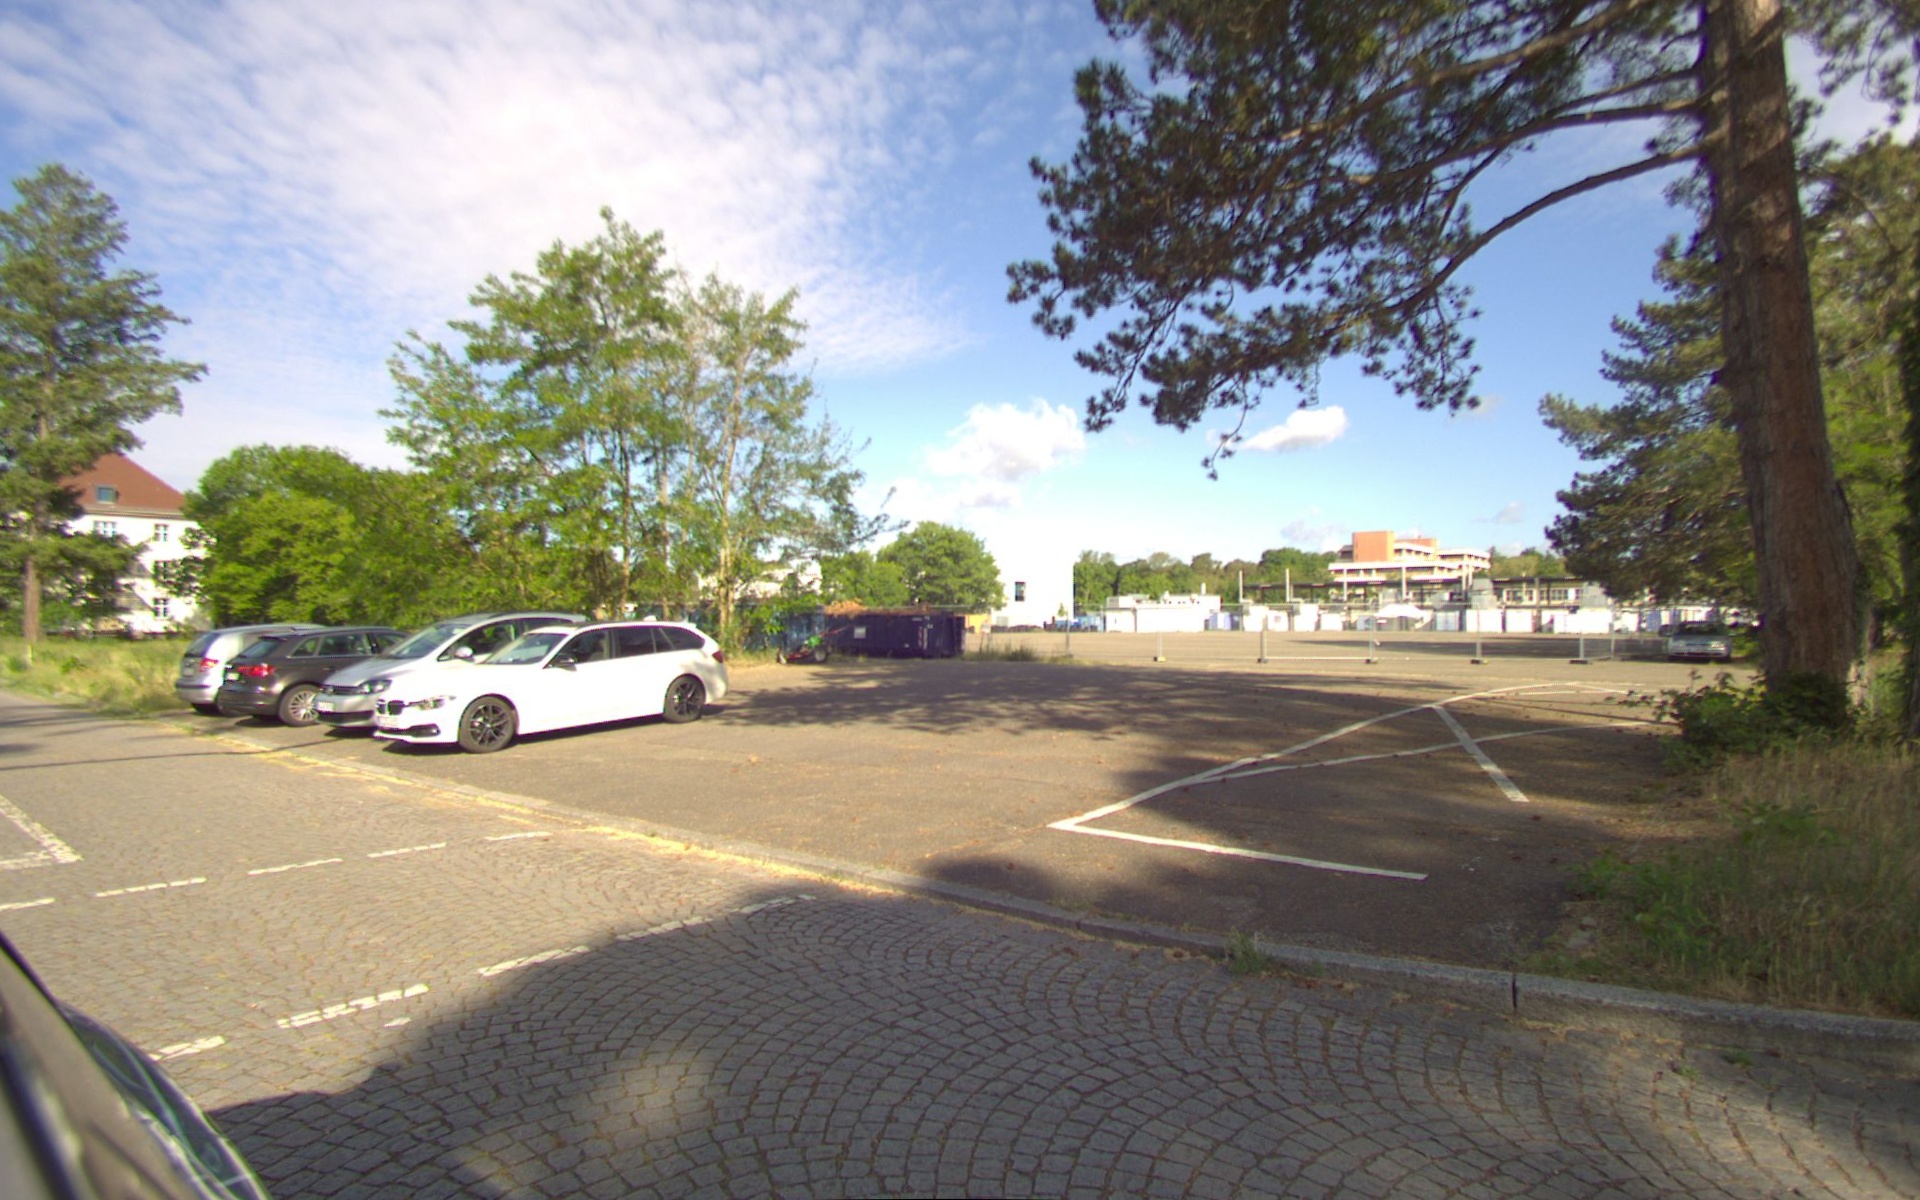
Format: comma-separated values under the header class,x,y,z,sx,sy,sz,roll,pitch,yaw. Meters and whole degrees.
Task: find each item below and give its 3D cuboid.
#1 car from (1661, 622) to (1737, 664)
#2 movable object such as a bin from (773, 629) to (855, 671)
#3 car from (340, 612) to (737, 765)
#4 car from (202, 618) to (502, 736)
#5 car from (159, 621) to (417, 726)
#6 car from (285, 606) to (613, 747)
class,x,y,z,sx,sy,sz,roll,pitch,yaw
car,25.661,1.458,35.083,1.747,1.381,3.571,-2,-2,42
movable object such as a bin,-4.106,1.401,28.623,0.996,1.116,2.256,-2,-2,38
car,-5.270,1.004,13.232,1.750,1.478,4.499,-2,0,37
car,-9.617,1.127,16.236,1.686,1.482,3.759,-2,1,40
car,-11.760,1.212,17.881,1.634,1.482,3.433,-2,1,38
car,-7.303,0.993,14.802,1.718,1.638,3.909,-2,1,36
